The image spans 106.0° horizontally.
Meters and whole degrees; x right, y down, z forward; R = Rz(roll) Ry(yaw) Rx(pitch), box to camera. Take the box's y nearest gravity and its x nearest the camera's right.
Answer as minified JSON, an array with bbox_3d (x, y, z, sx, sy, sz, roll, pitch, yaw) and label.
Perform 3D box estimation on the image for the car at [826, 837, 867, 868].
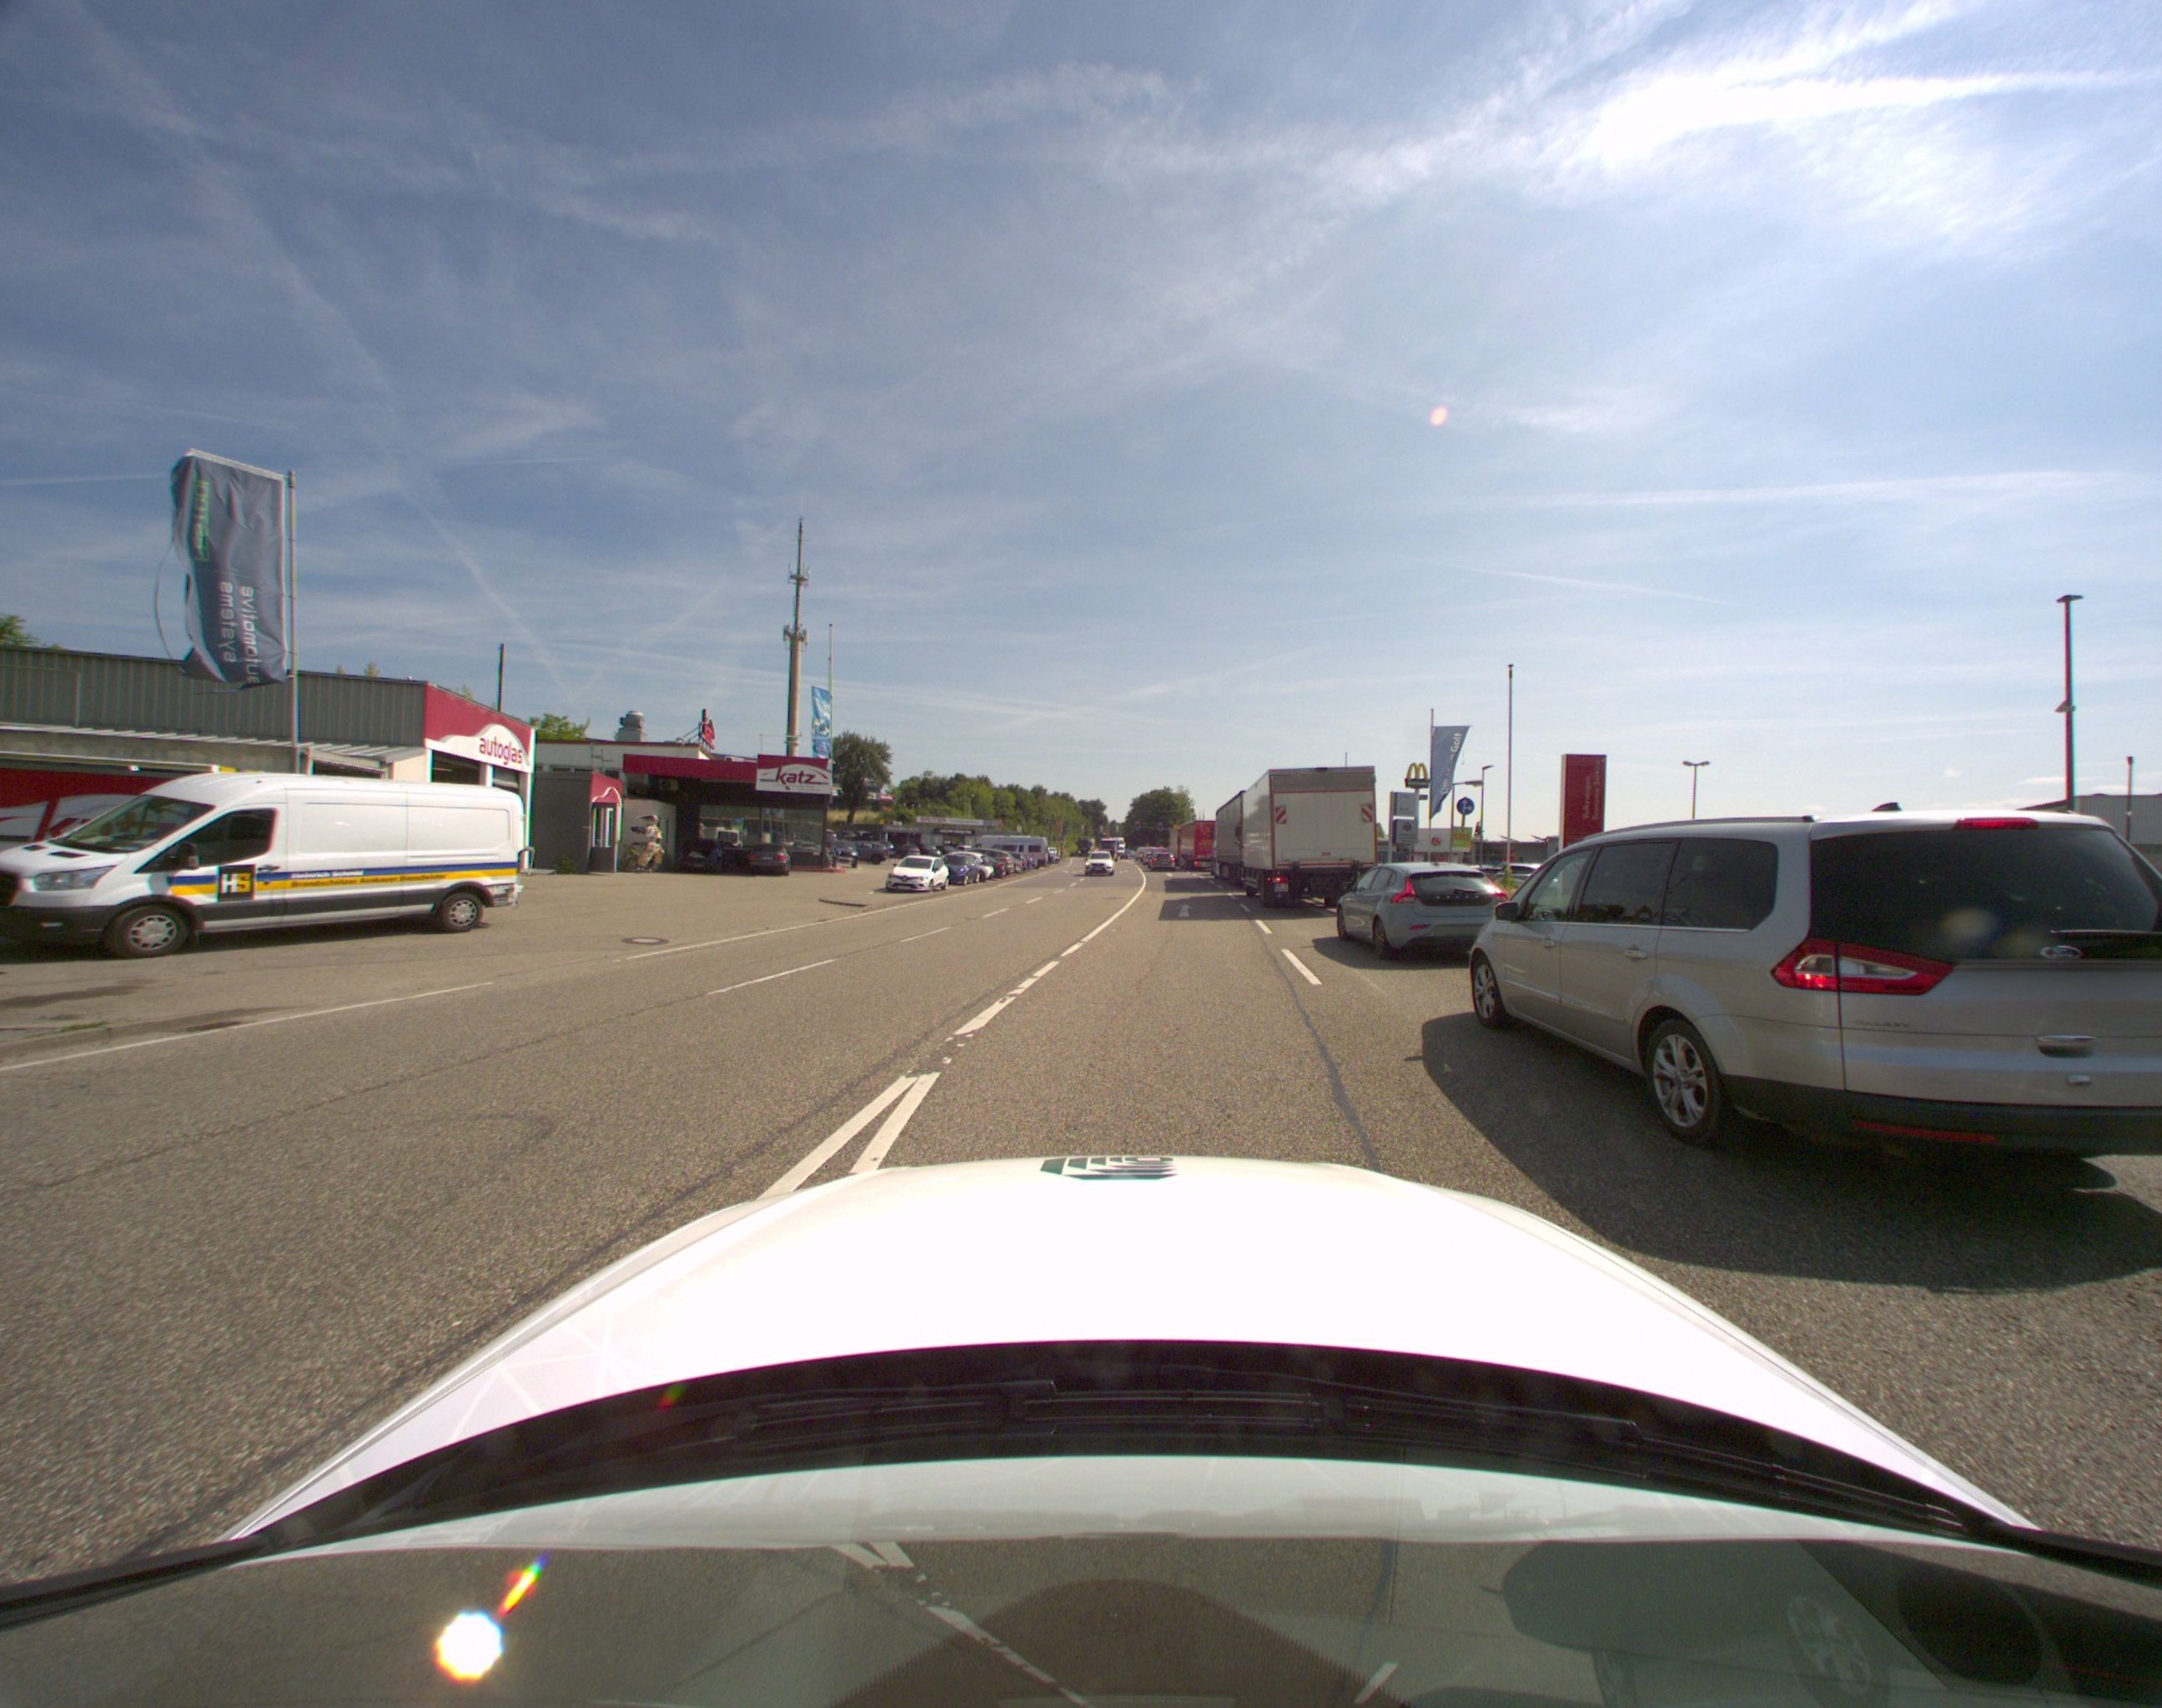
[{"bbox_3d":[-14.329,-0.074,49.642,1.828,1.675,4.098,6,-3,-21],"label":"car"}]

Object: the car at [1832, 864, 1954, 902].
[{"bbox_3d":[33.092,1.150,33.325,1.550,1.409,3.695,-1,0,6],"label":"car"}]

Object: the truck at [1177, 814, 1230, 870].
[{"bbox_3d":[10.355,-0.960,70.699,2.945,4.269,16.598,1,0,3],"label":"truck"}]

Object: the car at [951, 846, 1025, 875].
[{"bbox_3d":[-5.827,0.397,51.286,4.261,1.484,1.837,4,0,1],"label":"car"}]

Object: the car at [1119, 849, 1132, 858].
[{"bbox_3d":[7.180,-0.100,131.882,1.796,1.560,4.396,0,0,7],"label":"car"}]

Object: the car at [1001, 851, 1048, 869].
[{"bbox_3d":[-4.619,0.486,66.805,3.578,1.480,1.814,0,0,4],"label":"car"}]

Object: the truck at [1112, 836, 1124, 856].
[{"bbox_3d":[8.342,-1.763,184.150,2.542,4.307,7.602,0,0,3],"label":"truck"}]

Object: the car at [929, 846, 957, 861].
[{"bbox_3d":[-14.507,-0.069,85.469,1.774,1.588,3.793,0,0,-30],"label":"car"}]

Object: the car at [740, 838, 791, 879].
[{"bbox_3d":[-14.058,0.152,36.506,1.859,1.504,4.370,3,2,-19],"label":"car"}]

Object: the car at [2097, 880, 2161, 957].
[{"bbox_3d":[24.582,1.382,17.074,3.879,1.572,1.812,1,0,10],"label":"car"}]

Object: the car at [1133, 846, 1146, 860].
[{"bbox_3d":[8.493,-0.107,117.870,1.718,1.909,3.318,1,0,6],"label":"car"}]

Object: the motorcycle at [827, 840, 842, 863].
[{"bbox_3d":[-13.784,-0.158,45.509,0.771,1.261,2.043,0,0,-17],"label":"motorcycle"}]

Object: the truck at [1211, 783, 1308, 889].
[{"bbox_3d":[8.540,-0.766,41.247,2.876,4.266,16.736,1,0,6],"label":"truck"}]

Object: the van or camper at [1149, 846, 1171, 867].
[{"bbox_3d":[7.458,0.262,77.170,1.845,1.905,3.787,1,0,3],"label":"van or camper"}]

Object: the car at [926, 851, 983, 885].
[{"bbox_3d":[-6.199,0.659,40.337,1.771,1.494,3.787,5,0,5],"label":"car"}]

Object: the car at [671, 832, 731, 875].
[{"bbox_3d":[-16.423,-0.056,35.338,1.859,1.504,3.975,5,1,-20],"label":"car"}]

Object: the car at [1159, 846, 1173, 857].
[{"bbox_3d":[12.082,-0.370,115.781,1.720,1.519,3.314,2,-1,3],"label":"car"}]

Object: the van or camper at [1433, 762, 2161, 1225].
[{"bbox_3d":[4.150,0.539,5.753,1.737,1.787,5.145,1,0,8],"label":"van or camper"}]

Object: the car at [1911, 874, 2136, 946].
[{"bbox_3d":[24.231,1.377,21.169,1.605,1.594,3.867,-1,0,6],"label":"car"}]

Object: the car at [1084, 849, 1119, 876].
[{"bbox_3d":[1.414,0.520,53.927,1.925,1.674,4.007,-1,0,6],"label":"car"}]

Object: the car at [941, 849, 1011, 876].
[{"bbox_3d":[-5.944,0.470,46.221,3.694,1.525,1.793,0,0,1],"label":"car"}]

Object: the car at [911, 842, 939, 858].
[{"bbox_3d":[-16.146,-0.431,84.161,1.774,1.588,3.793,0,0,-30],"label":"car"}]

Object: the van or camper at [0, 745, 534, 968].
[{"bbox_3d":[-12.023,-0.031,12.352,2.137,2.498,5.978,5,1,18],"label":"van or camper"}]

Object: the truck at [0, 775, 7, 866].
[{"bbox_3d":[-13.733,0.168,4.737,2.317,2.296,8.827,5,1,10],"label":"truck"}]

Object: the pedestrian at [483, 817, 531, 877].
[{"bbox_3d":[-17.373,-0.197,24.650,0.718,1.762,0.896,1,-1,7],"label":"pedestrian"}]

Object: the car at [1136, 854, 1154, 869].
[{"bbox_3d":[6.818,0.838,86.657,1.720,1.519,3.314,1,0,2],"label":"car"}]

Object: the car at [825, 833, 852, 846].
[{"bbox_3d":[-27.876,-1.664,93.673,1.744,1.450,3.707,2,-1,-38],"label":"car"}]

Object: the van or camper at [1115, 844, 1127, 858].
[{"bbox_3d":[8.349,-0.583,169.408,2.215,2.840,5.715,1,0,3],"label":"van or camper"}]

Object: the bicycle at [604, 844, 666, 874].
[{"bbox_3d":[-17.340,0.203,31.684,1.997,0.971,0.412,5,-2,-18],"label":"bicycle"}]

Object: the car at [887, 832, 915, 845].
[{"bbox_3d":[-20.952,-1.751,94.677,1.744,1.450,3.707,2,-1,-38],"label":"car"}]

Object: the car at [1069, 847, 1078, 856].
[{"bbox_3d":[-1.829,-0.646,190.768,1.988,2.014,3.997,1,0,-2],"label":"car"}]

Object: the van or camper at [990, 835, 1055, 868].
[{"bbox_3d":[-4.971,-0.207,69.419,5.221,2.731,2.213,1,0,4],"label":"van or camper"}]

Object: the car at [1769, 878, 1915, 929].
[{"bbox_3d":[24.047,1.512,25.911,1.550,1.409,3.602,-1,0,7],"label":"car"}]

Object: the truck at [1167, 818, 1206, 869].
[{"bbox_3d":[11.599,-1.112,91.467,3.049,5.220,17.021,1,0,3],"label":"truck"}]

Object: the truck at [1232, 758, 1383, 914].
[{"bbox_3d":[6.600,-0.460,25.615,2.864,3.811,11.163,1,0,7],"label":"truck"}]

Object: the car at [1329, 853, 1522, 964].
[{"bbox_3d":[5.235,0.726,12.971,1.726,1.428,4.233,1,0,7],"label":"car"}]

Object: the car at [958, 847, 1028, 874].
[{"bbox_3d":[-5.971,0.421,55.758,4.443,1.484,1.772,4,0,1],"label":"car"}]

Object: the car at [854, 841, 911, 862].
[{"bbox_3d":[-14.810,-0.178,60.773,3.951,1.532,1.757,0,0,-20],"label":"car"}]

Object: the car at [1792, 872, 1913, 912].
[{"bbox_3d":[30.148,1.462,31.982,1.551,1.409,3.600,-1,0,5],"label":"car"}]

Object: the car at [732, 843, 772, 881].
[{"bbox_3d":[-16.970,0.371,42.126,1.705,1.759,3.735,4,-1,-21],"label":"car"}]

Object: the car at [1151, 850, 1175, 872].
[{"bbox_3d":[6.351,0.552,62.657,1.781,1.638,3.510,0,0,6],"label":"car"}]

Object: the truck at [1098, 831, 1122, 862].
[{"bbox_3d":[4.237,-1.115,117.705,2.942,4.209,10.660,-1,0,5],"label":"truck"}]

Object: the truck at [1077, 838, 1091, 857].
[{"bbox_3d":[0.557,-1.266,160.734,2.804,3.786,6.987,-1,0,-1],"label":"truck"}]

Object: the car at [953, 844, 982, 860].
[{"bbox_3d":[-12.110,-0.222,86.737,1.774,1.588,3.793,0,0,-30],"label":"car"}]

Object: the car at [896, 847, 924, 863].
[{"bbox_3d":[-17.343,0.090,82.496,1.774,1.588,3.793,0,0,-30],"label":"car"}]

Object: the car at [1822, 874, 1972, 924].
[{"bbox_3d":[26.475,1.421,26.586,1.550,1.427,3.602,-1,0,7],"label":"car"}]

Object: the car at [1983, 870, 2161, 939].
[{"bbox_3d":[26.626,1.258,21.521,1.550,1.594,3.867,-1,0,6],"label":"car"}]

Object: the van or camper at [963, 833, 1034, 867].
[{"bbox_3d":[-7.260,-0.350,71.932,5.867,2.873,2.292,1,1,3],"label":"van or camper"}]

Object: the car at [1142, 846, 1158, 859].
[{"bbox_3d":[8.044,-0.172,95.230,1.719,1.519,3.315,1,0,4],"label":"car"}]

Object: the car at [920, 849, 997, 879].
[{"bbox_3d":[-6.512,0.528,43.639,3.782,1.525,1.847,0,0,1],"label":"car"}]

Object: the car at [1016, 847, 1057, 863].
[{"bbox_3d":[-4.298,0.089,79.369,3.801,1.539,1.844,0,0,2],"label":"car"}]

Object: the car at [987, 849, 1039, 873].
[{"bbox_3d":[-5.089,0.503,61.500,3.694,1.555,1.709,2,2,1],"label":"car"}]

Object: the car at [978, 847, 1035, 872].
[{"bbox_3d":[-5.350,0.382,58.816,3.830,1.484,1.802,4,0,1],"label":"car"}]

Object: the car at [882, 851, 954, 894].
[{"bbox_3d":[-6.619,0.709,33.443,1.770,1.618,4.006,1,0,5],"label":"car"}]

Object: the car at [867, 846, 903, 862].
[{"bbox_3d":[-19.724,0.006,81.966,3.781,1.588,1.780,0,0,43],"label":"car"}]

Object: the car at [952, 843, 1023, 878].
[{"bbox_3d":[-5.530,0.374,48.565,3.872,1.716,1.807,4,0,1],"label":"car"}]

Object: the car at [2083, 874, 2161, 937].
[{"bbox_3d":[29.194,1.371,21.227,1.605,1.594,3.867,-1,0,6],"label":"car"}]
